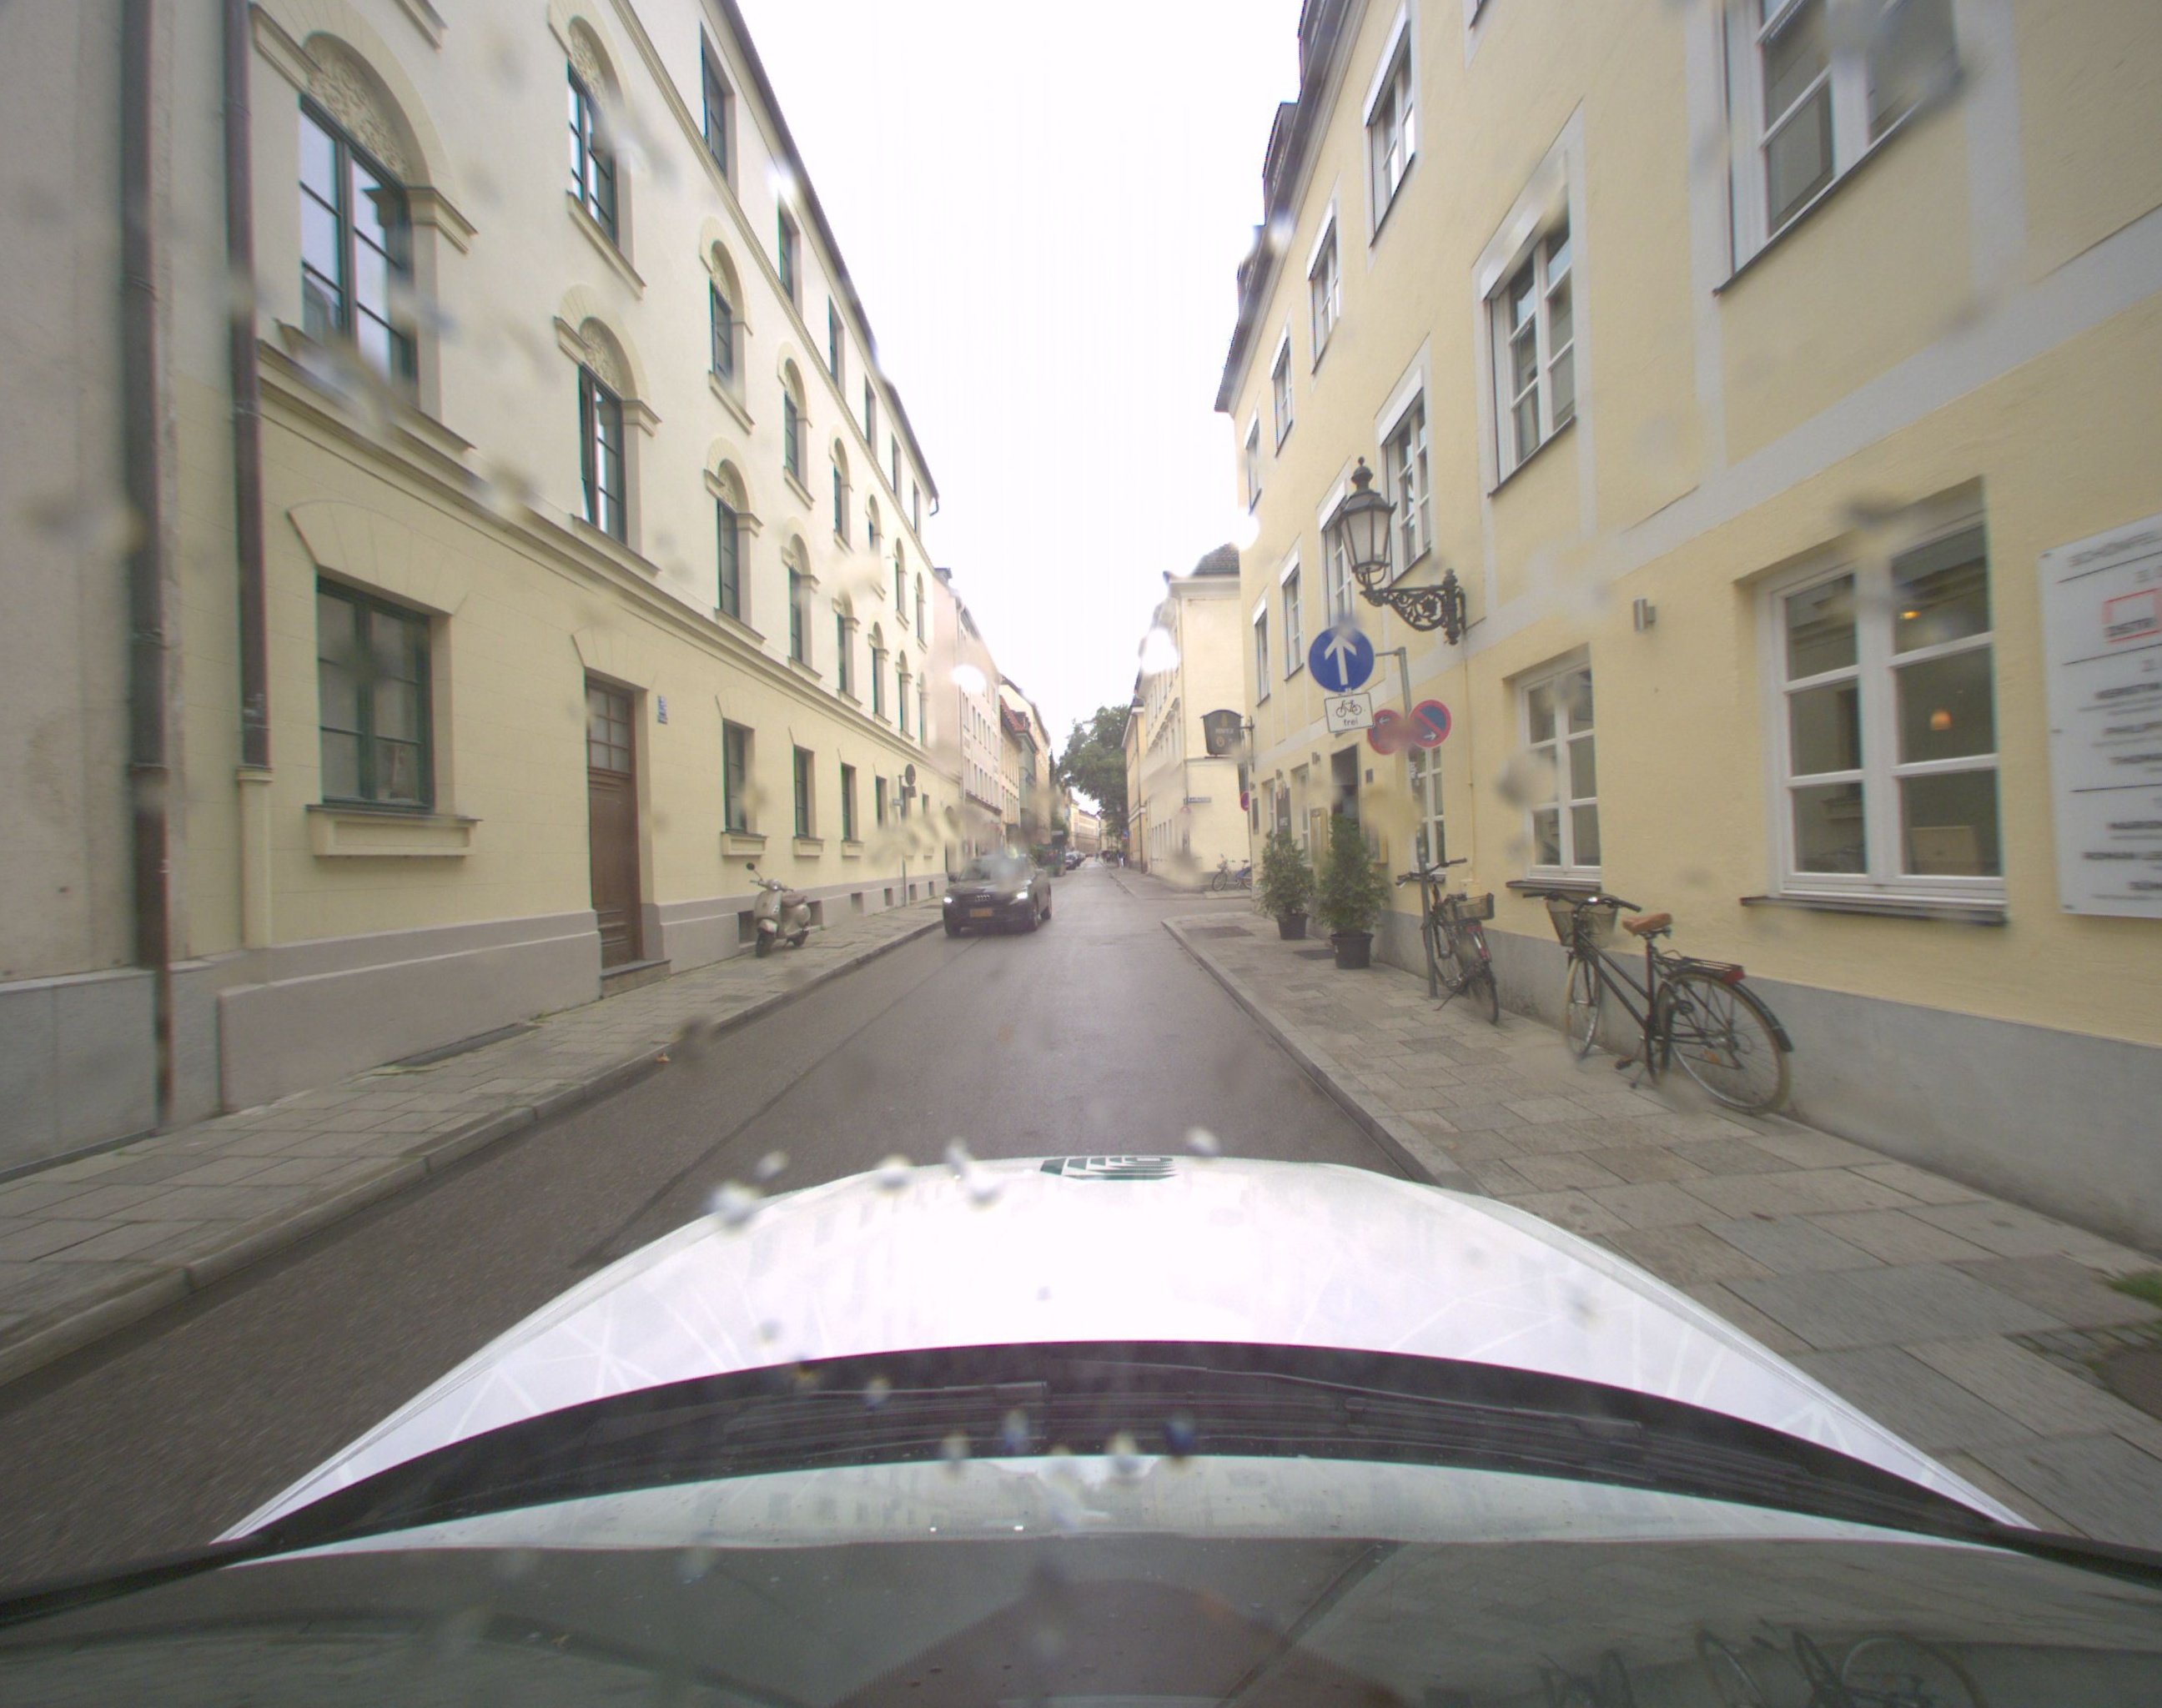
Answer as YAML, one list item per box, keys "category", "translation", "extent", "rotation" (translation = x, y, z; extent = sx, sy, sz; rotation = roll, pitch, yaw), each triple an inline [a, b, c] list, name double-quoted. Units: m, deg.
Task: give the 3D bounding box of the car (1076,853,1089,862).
- category: "car"
  translation: [0.242, 0.527, 125.596]
  extent: [1.772, 1.466, 3.545]
  rotation: [-1, 0, 3]

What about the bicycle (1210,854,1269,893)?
- category: "bicycle"
  translation: [5.120, 0.627, 26.340]
  extent: [1.751, 1.144, 0.586]
  rotation: [-2, 2, 0]

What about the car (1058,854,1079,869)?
- category: "car"
  translation: [-1.239, 0.733, 80.911]
  extent: [1.772, 1.466, 3.545]
  rotation: [-1, 0, 3]

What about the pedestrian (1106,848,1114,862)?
- category: "pedestrian"
  translation: [3.842, 0.139, 109.307]
  extent: [1.012, 1.802, 1.349]
  rotation: [-1, 0, 1]

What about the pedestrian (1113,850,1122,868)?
- category: "pedestrian"
  translation: [3.599, 0.501, 80.118]
  extent: [0.877, 1.802, 1.046]
  rotation: [-1, 0, 1]

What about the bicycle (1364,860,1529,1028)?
- category: "bicycle"
  translation: [2.881, 0.642, 6.610]
  extent: [0.563, 1.137, 1.684]
  rotation: [-4, 0, 2]

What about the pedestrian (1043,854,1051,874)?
- category: "pedestrian"
  translation: [-2.280, 0.654, 54.725]
  extent: [0.508, 1.326, 0.630]
  rotation: [-1, 0, -1]

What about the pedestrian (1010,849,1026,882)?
- category: "pedestrian"
  translation: [-3.417, 0.617, 44.006]
  extent: [0.764, 1.708, 0.785]
  rotation: [-2, 0, -2]

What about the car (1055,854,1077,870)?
- category: "car"
  translation: [-1.389, 0.725, 75.916]
  extent: [1.772, 1.466, 3.666]
  rotation: [-1, 0, 3]

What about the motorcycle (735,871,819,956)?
- category: "motorcycle"
  translation: [-4.663, 0.883, 12.599]
  extent: [0.600, 1.174, 1.709]
  rotation: [-1, 0, 1]

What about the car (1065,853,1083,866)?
- category: "car"
  translation: [-0.797, 0.593, 95.868]
  extent: [1.772, 1.466, 3.545]
  rotation: [-1, 0, 3]

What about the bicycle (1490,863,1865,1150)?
- category: "bicycle"
  translation: [2.999, 0.652, 4.411]
  extent: [0.563, 1.137, 1.988]
  rotation: [-4, 0, 2]

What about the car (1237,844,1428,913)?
- category: "car"
  translation: [5.827, 0.545, 19.198]
  extent: [3.999, 1.440, 1.766]
  rotation: [-1, 2, 2]

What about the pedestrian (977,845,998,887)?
- category: "pedestrian"
  translation: [-4.093, 0.512, 35.727]
  extent: [0.807, 1.755, 0.989]
  rotation: [-1, 1, -2]

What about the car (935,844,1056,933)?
- category: "car"
  translation: [-1.638, 0.635, 16.976]
  extent: [1.804, 1.594, 4.004]
  rotation: [-1, 0, 4]
